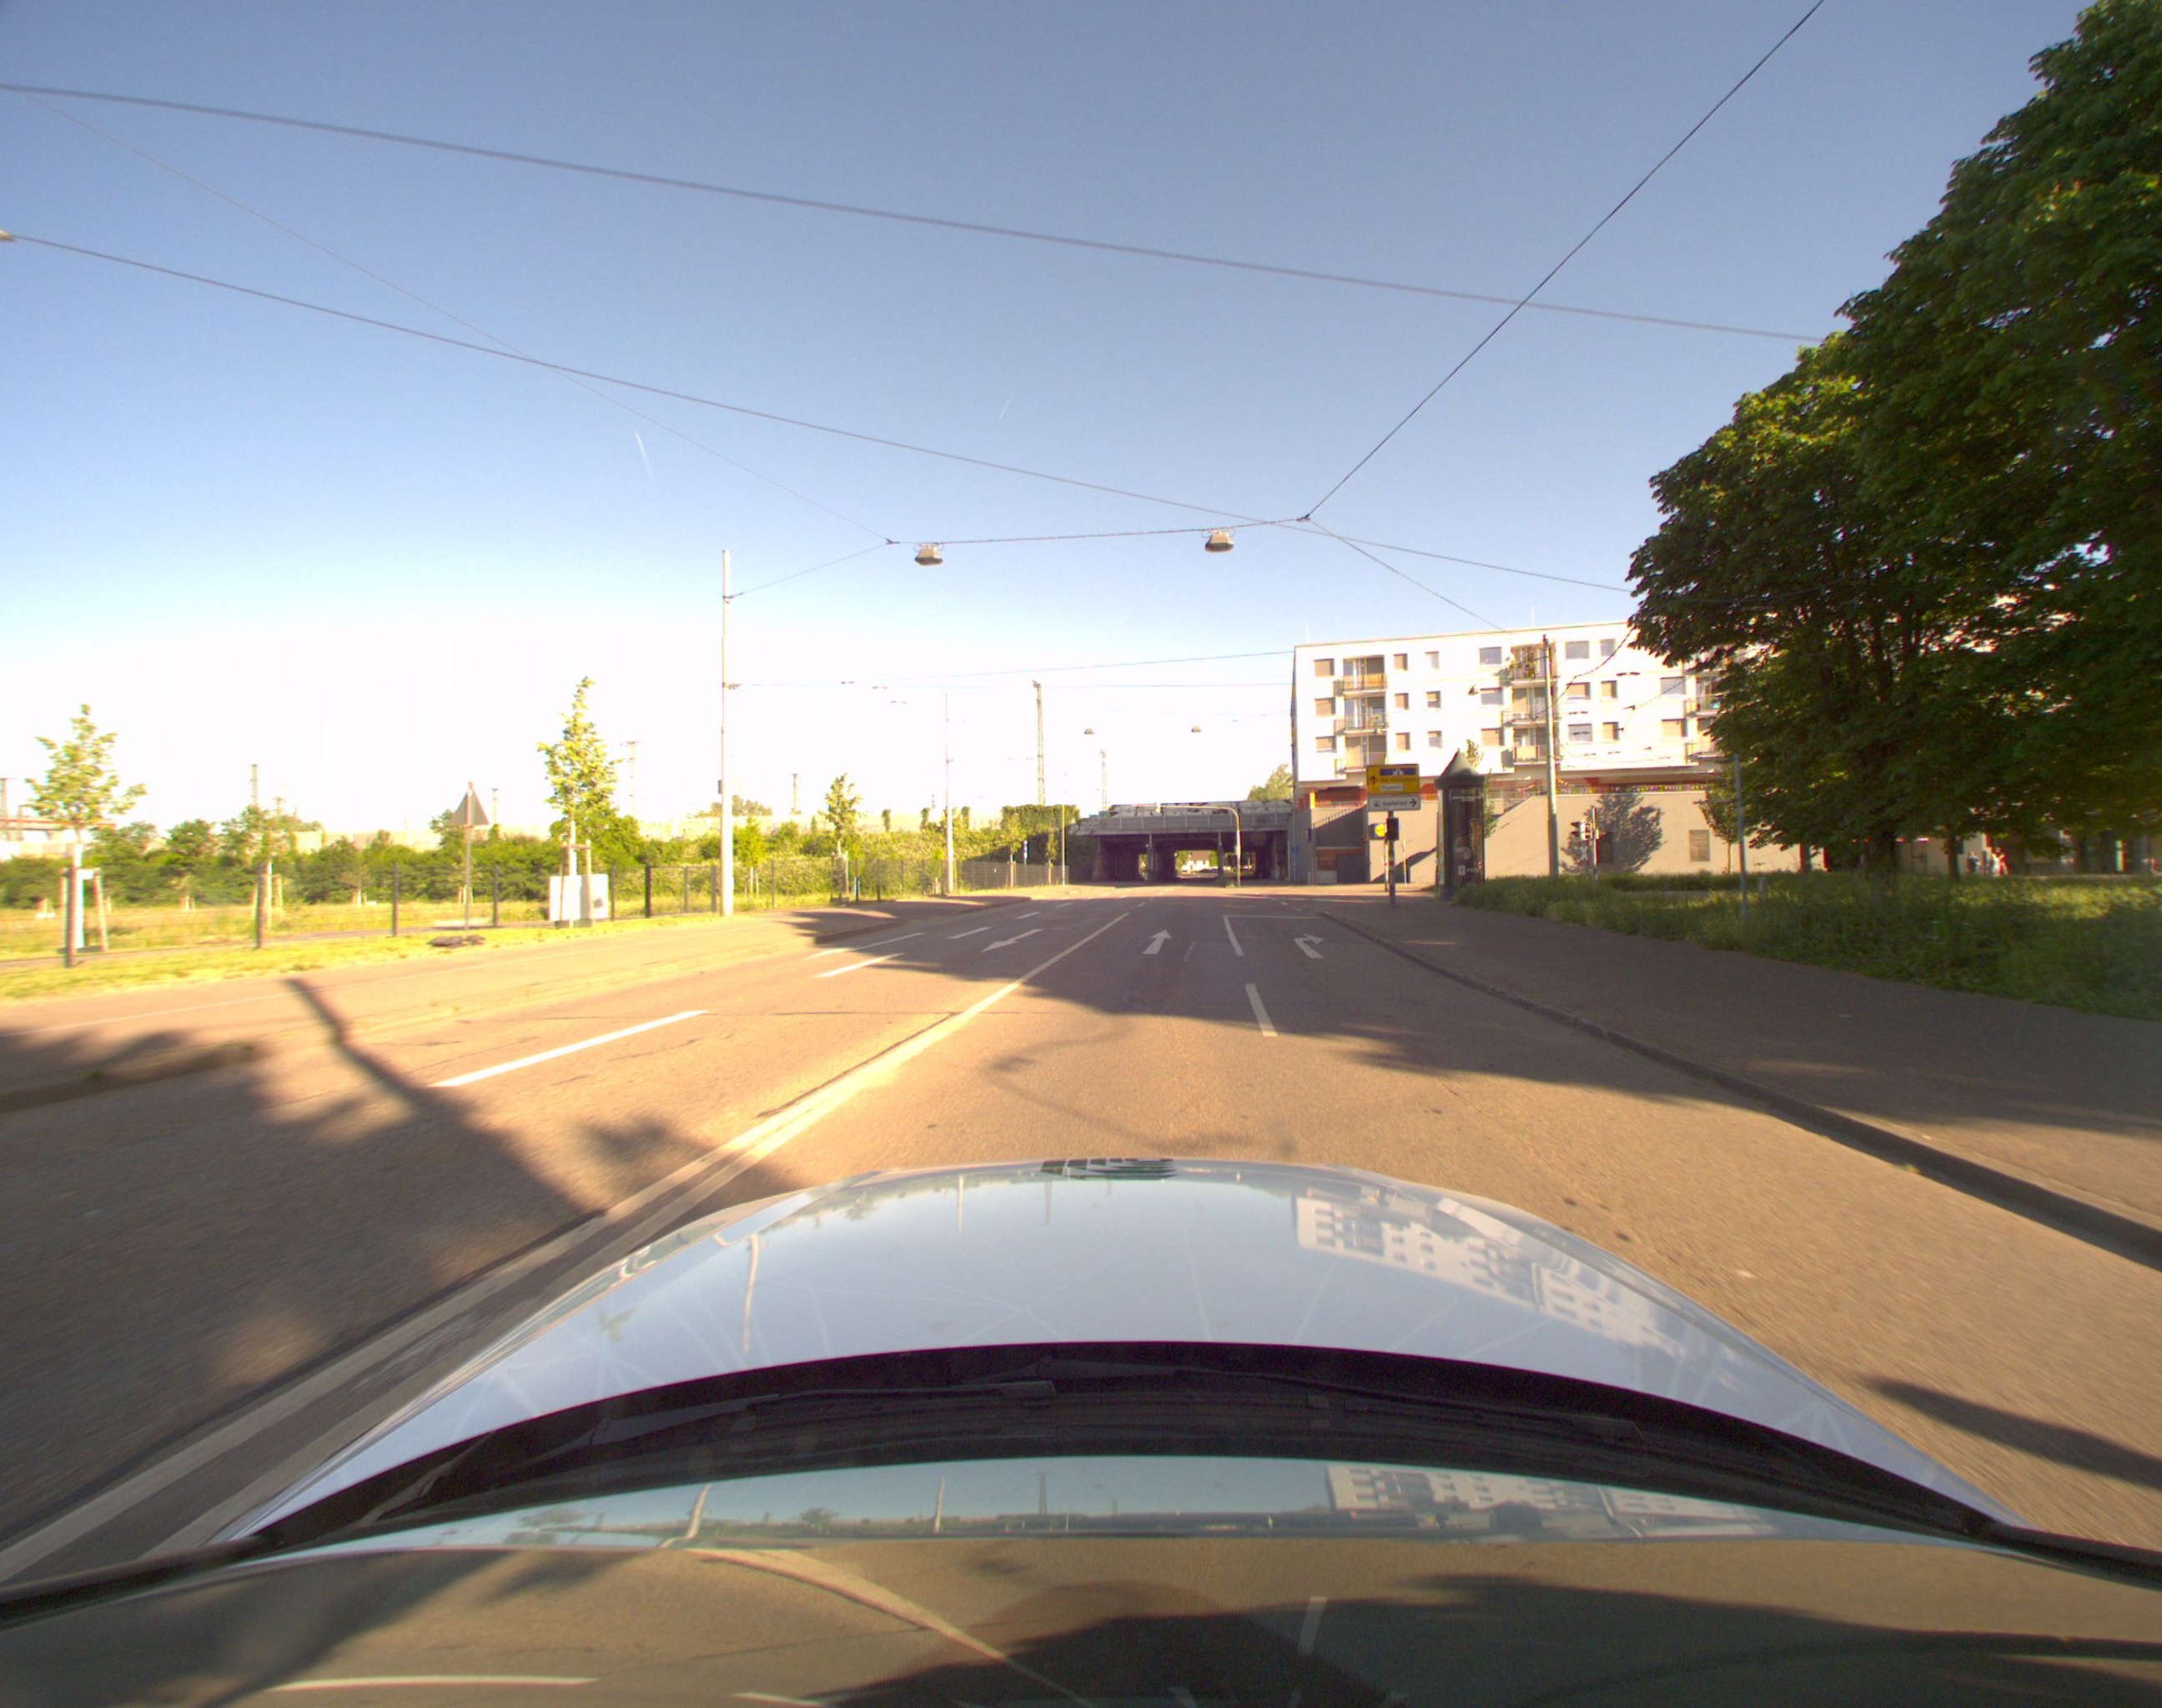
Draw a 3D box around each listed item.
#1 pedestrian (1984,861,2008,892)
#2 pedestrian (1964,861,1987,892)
[{"bbox_3d":[51.180,1.273,45.568,0.655,1.702,0.603,0,-4,25],"label":"pedestrian"},{"bbox_3d":[50.396,1.267,45.885,0.655,1.702,0.603,0,-4,25],"label":"pedestrian"}]
